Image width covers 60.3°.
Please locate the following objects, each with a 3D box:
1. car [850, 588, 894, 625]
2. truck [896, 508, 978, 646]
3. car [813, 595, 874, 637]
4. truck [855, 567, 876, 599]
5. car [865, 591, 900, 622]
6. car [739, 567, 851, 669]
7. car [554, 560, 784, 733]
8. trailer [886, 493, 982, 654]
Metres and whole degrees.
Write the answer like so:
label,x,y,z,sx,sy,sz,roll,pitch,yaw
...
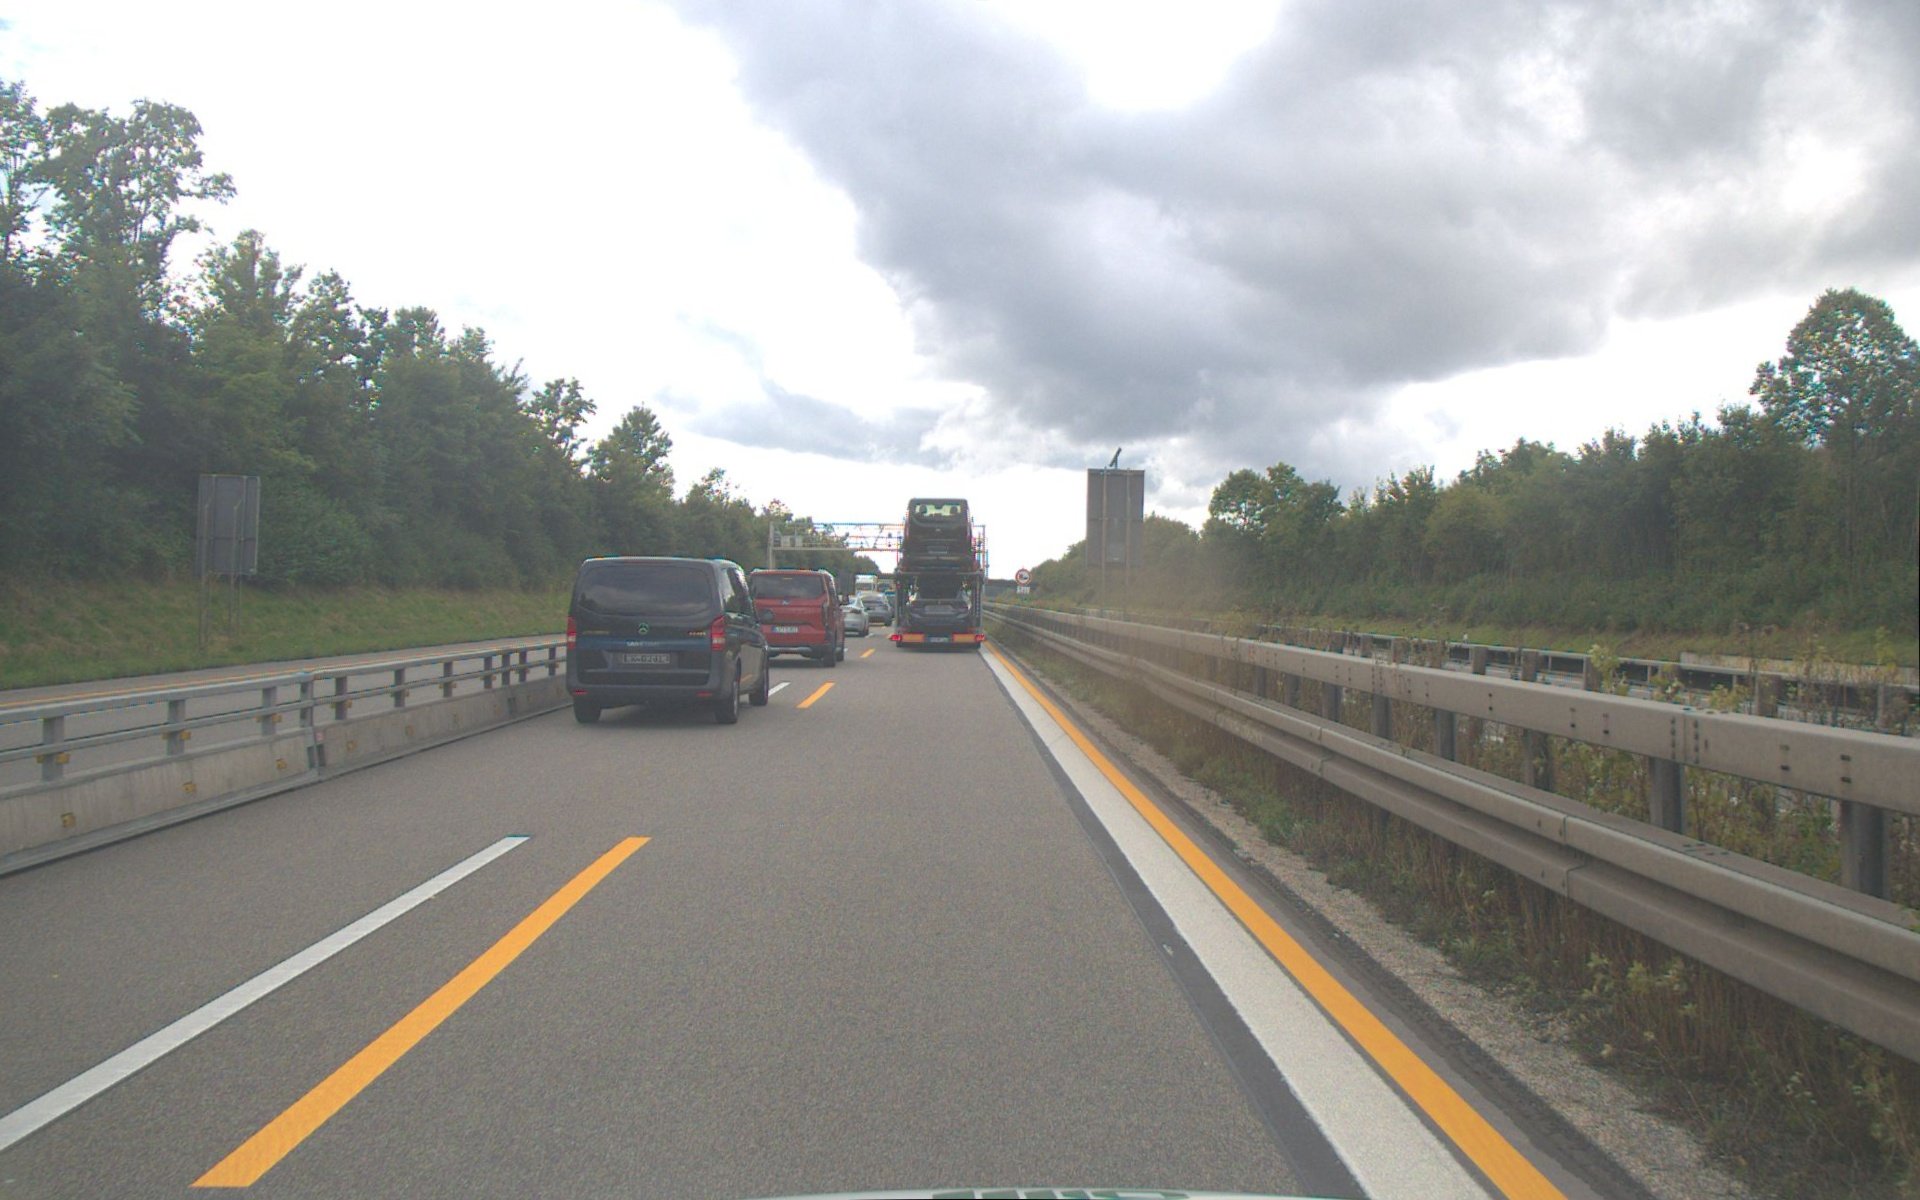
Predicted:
label,x,y,z,sx,sy,sz,roll,pitch,yaw
car,-4.234,0.301,80.387,1.990,1.788,4.576,0,0,-1
truck,-0.711,-0.716,53.395,2.464,4.177,5.685,1,0,0
car,-4.218,0.561,60.528,1.990,1.456,4.576,0,0,-1
truck,-12.884,-2.335,225.947,2.546,4.227,5.619,1,1,-1
car,-4.499,0.364,96.684,1.990,1.788,4.576,0,0,-2
car,-3.465,0.357,35.486,1.990,2.049,4.577,0,0,-1
car,-3.454,0.494,20.720,1.953,1.875,5.608,0,0,-1
trailer,-0.690,-0.706,48.651,2.464,4.177,11.112,1,0,0
